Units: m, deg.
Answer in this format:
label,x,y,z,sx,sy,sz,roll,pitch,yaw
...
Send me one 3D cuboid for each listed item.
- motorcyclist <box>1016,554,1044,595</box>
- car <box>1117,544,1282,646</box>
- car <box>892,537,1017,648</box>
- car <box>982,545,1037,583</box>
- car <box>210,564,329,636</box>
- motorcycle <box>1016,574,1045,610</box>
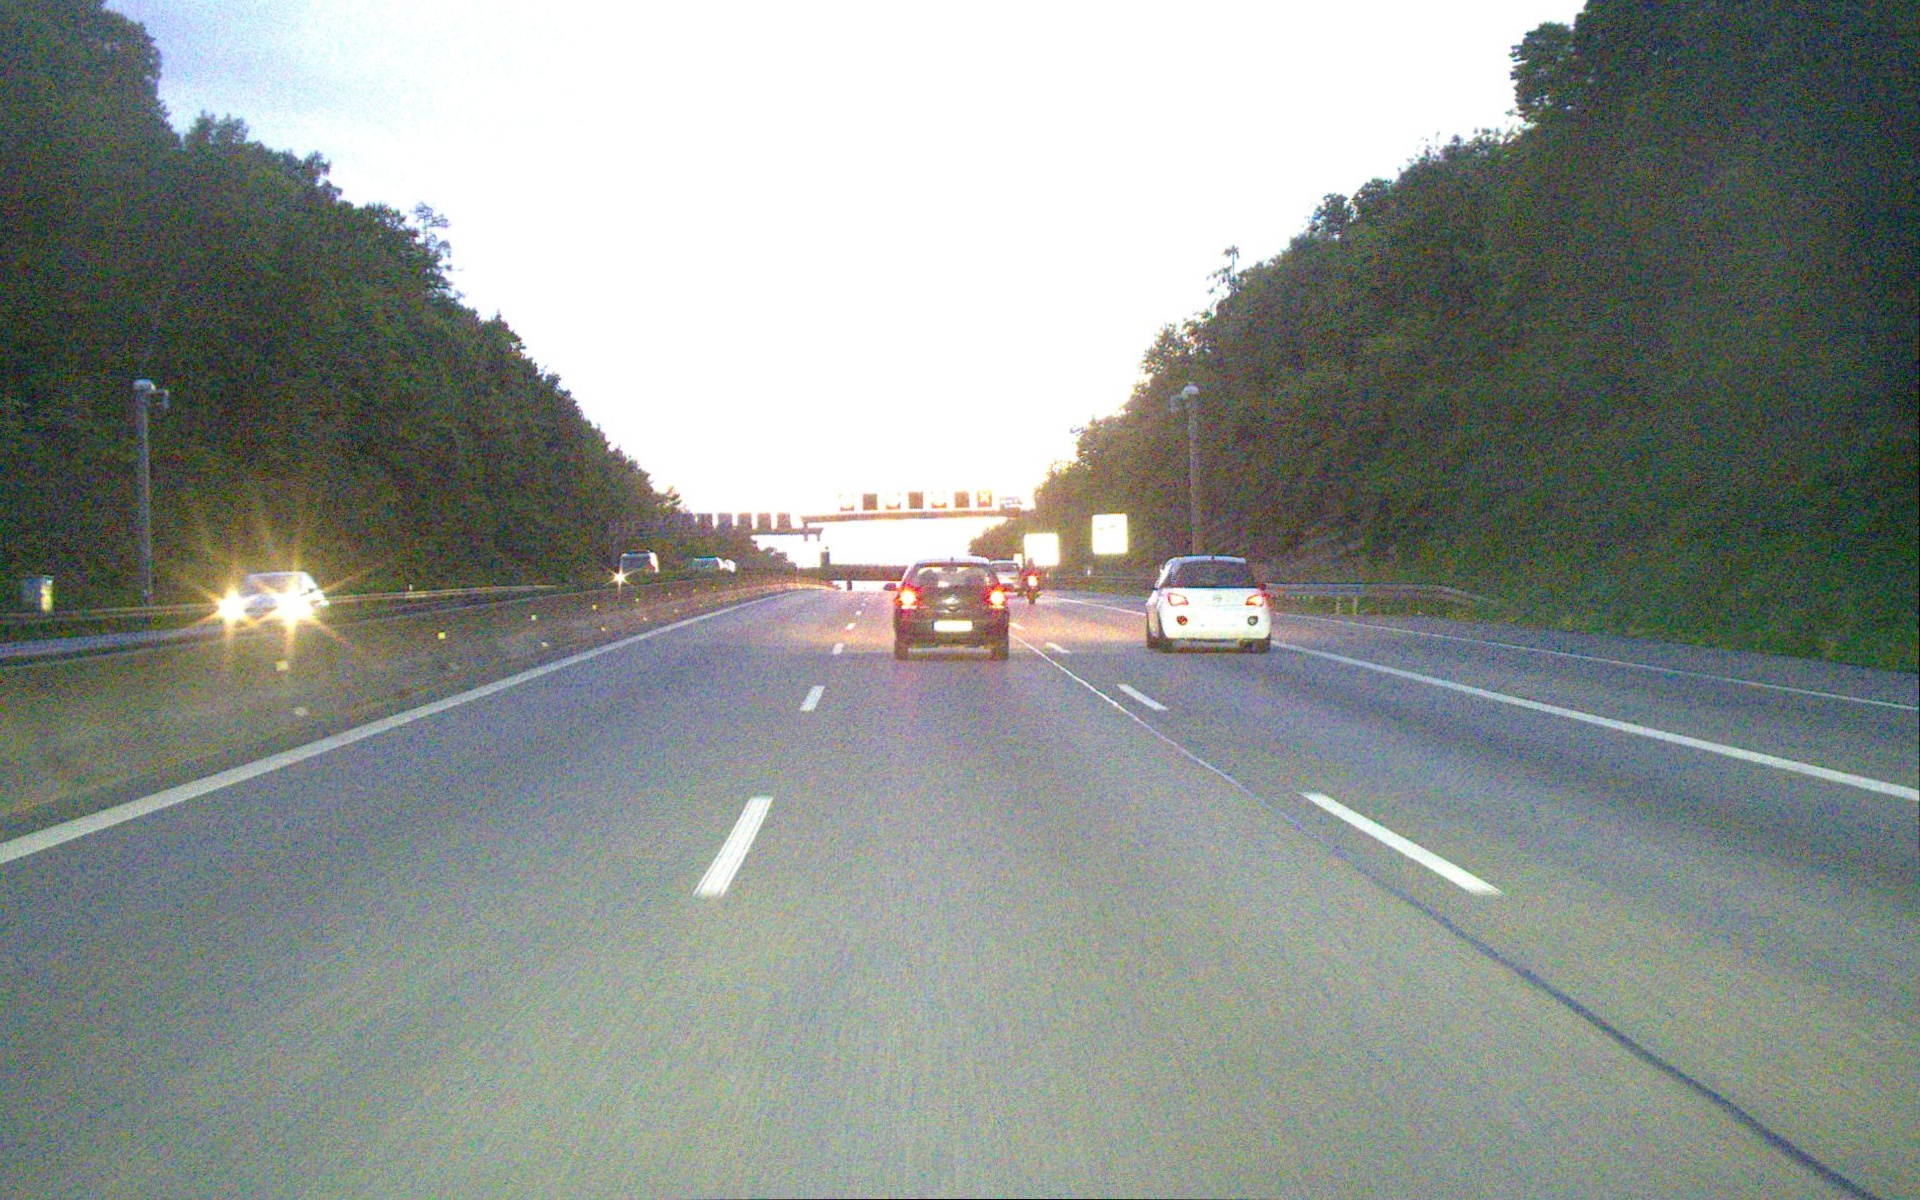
label,x,y,z,sx,sy,sz,roll,pitch,yaw
motorcyclist,2.225,-0.806,109.169,0.829,1.287,1.190,0,0,-1
car,3.657,-0.050,53.295,1.825,1.471,4.399,1,-1,-5
car,-0.107,-0.073,49.627,1.704,1.504,4.232,1,-1,-1
car,2.086,-1.518,145.976,1.865,1.489,4.399,1,-1,-5
car,-15.625,-0.030,78.012,1.880,1.569,4.655,0,1,-1
motorcycle,2.230,-0.238,109.234,0.829,1.130,2.476,0,0,-1
